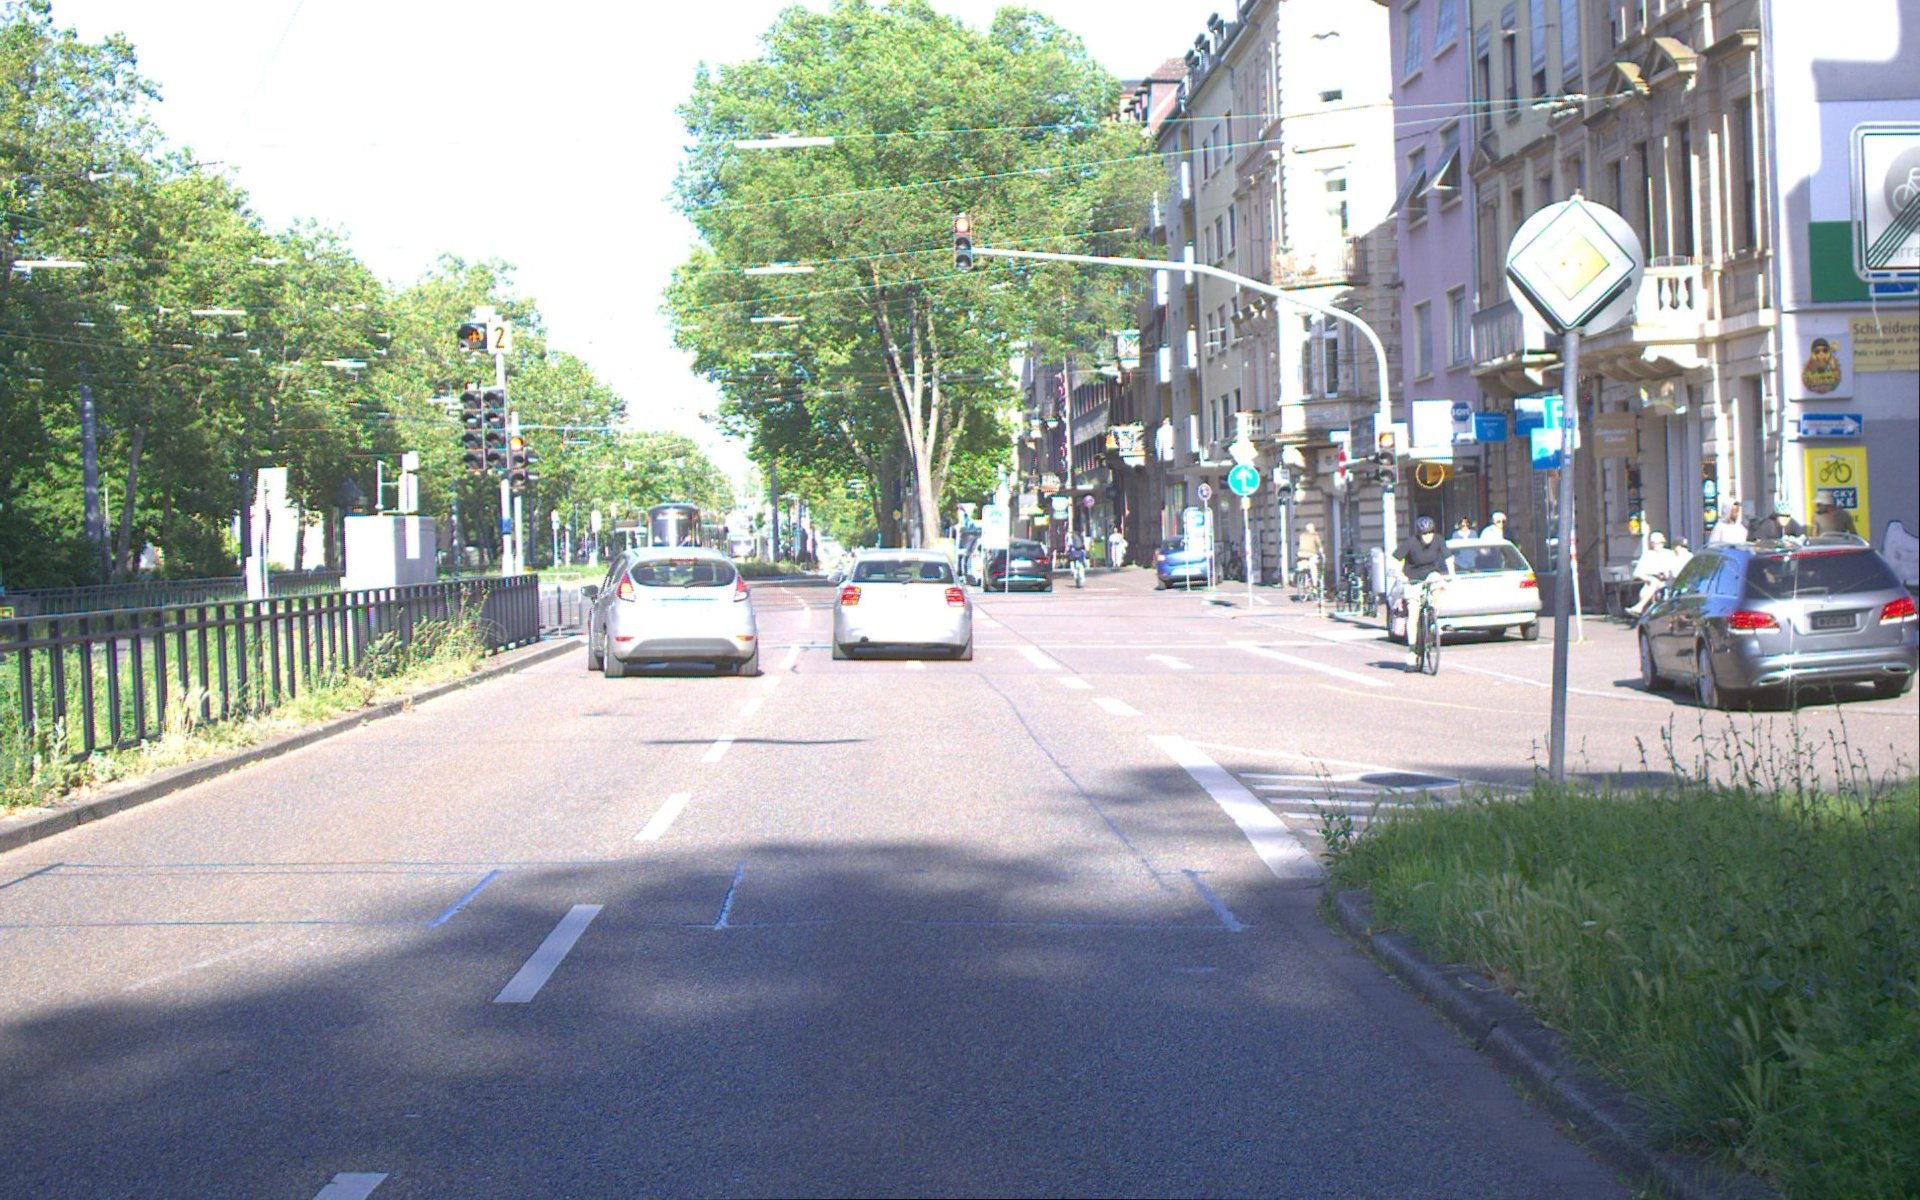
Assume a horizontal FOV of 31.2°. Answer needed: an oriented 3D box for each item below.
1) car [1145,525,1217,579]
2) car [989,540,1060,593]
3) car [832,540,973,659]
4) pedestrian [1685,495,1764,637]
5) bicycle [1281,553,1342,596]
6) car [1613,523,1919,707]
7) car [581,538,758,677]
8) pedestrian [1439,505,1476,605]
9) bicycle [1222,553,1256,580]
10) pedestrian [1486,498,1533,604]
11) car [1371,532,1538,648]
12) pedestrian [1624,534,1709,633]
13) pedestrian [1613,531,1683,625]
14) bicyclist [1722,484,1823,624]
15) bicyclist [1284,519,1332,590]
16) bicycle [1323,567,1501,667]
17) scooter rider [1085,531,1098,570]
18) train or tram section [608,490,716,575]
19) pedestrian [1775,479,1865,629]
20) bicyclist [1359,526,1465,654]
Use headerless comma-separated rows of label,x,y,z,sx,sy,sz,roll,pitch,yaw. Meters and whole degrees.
car,6.350,-1.382,98.991,1.735,1.514,3.637,0,1,-2
car,1.771,-0.951,95.404,1.735,1.428,3.678,0,1,-2
car,-0.751,-0.037,44.746,1.740,1.462,4.000,0,1,-1
pedestrian,9.598,-0.434,43.168,0.760,1.749,0.513,-2,1,-21
bicycle,7.616,-0.563,74.512,0.654,0.900,1.335,0,1,41
car,7.579,0.088,32.410,1.833,1.482,4.734,-4,1,0
car,-3.353,0.046,39.183,1.609,1.462,3.891,-1,1,-10
pedestrian,8.624,-0.781,59.567,0.549,1.702,0.388,-2,1,2
bicycle,8.230,-0.982,101.606,0.754,0.768,1.945,-1,1,-2
pedestrian,9.491,-0.848,59.348,0.673,1.800,0.530,-2,1,-1
car,6.791,-0.170,47.514,1.562,1.411,4.004,-5,1,-1
pedestrian,9.588,-0.223,46.649,0.900,1.277,0.656,-4,1,-6
pedestrian,9.458,-0.306,47.303,0.797,1.277,0.608,-1,1,-3
bicyclist,8.773,-0.501,37.171,0.676,1.441,1.182,-5,1,-1
bicyclist,7.543,-0.986,74.432,0.548,1.497,0.959,-1,1,41
bicycle,5.188,0.194,39.554,0.757,1.098,1.952,-2,1,-44
scooter rider,5.137,-1.937,134.243,0.465,1.500,0.811,-1,1,1
train or tram section,-14.377,-3.282,167.443,3.969,3.852,17.490,-1,1,-1
pedestrian,10.718,-0.572,42.876,0.760,1.835,0.748,-2,1,-20
bicyclist,5.203,-0.118,39.540,0.951,1.457,0.745,1,1,44
